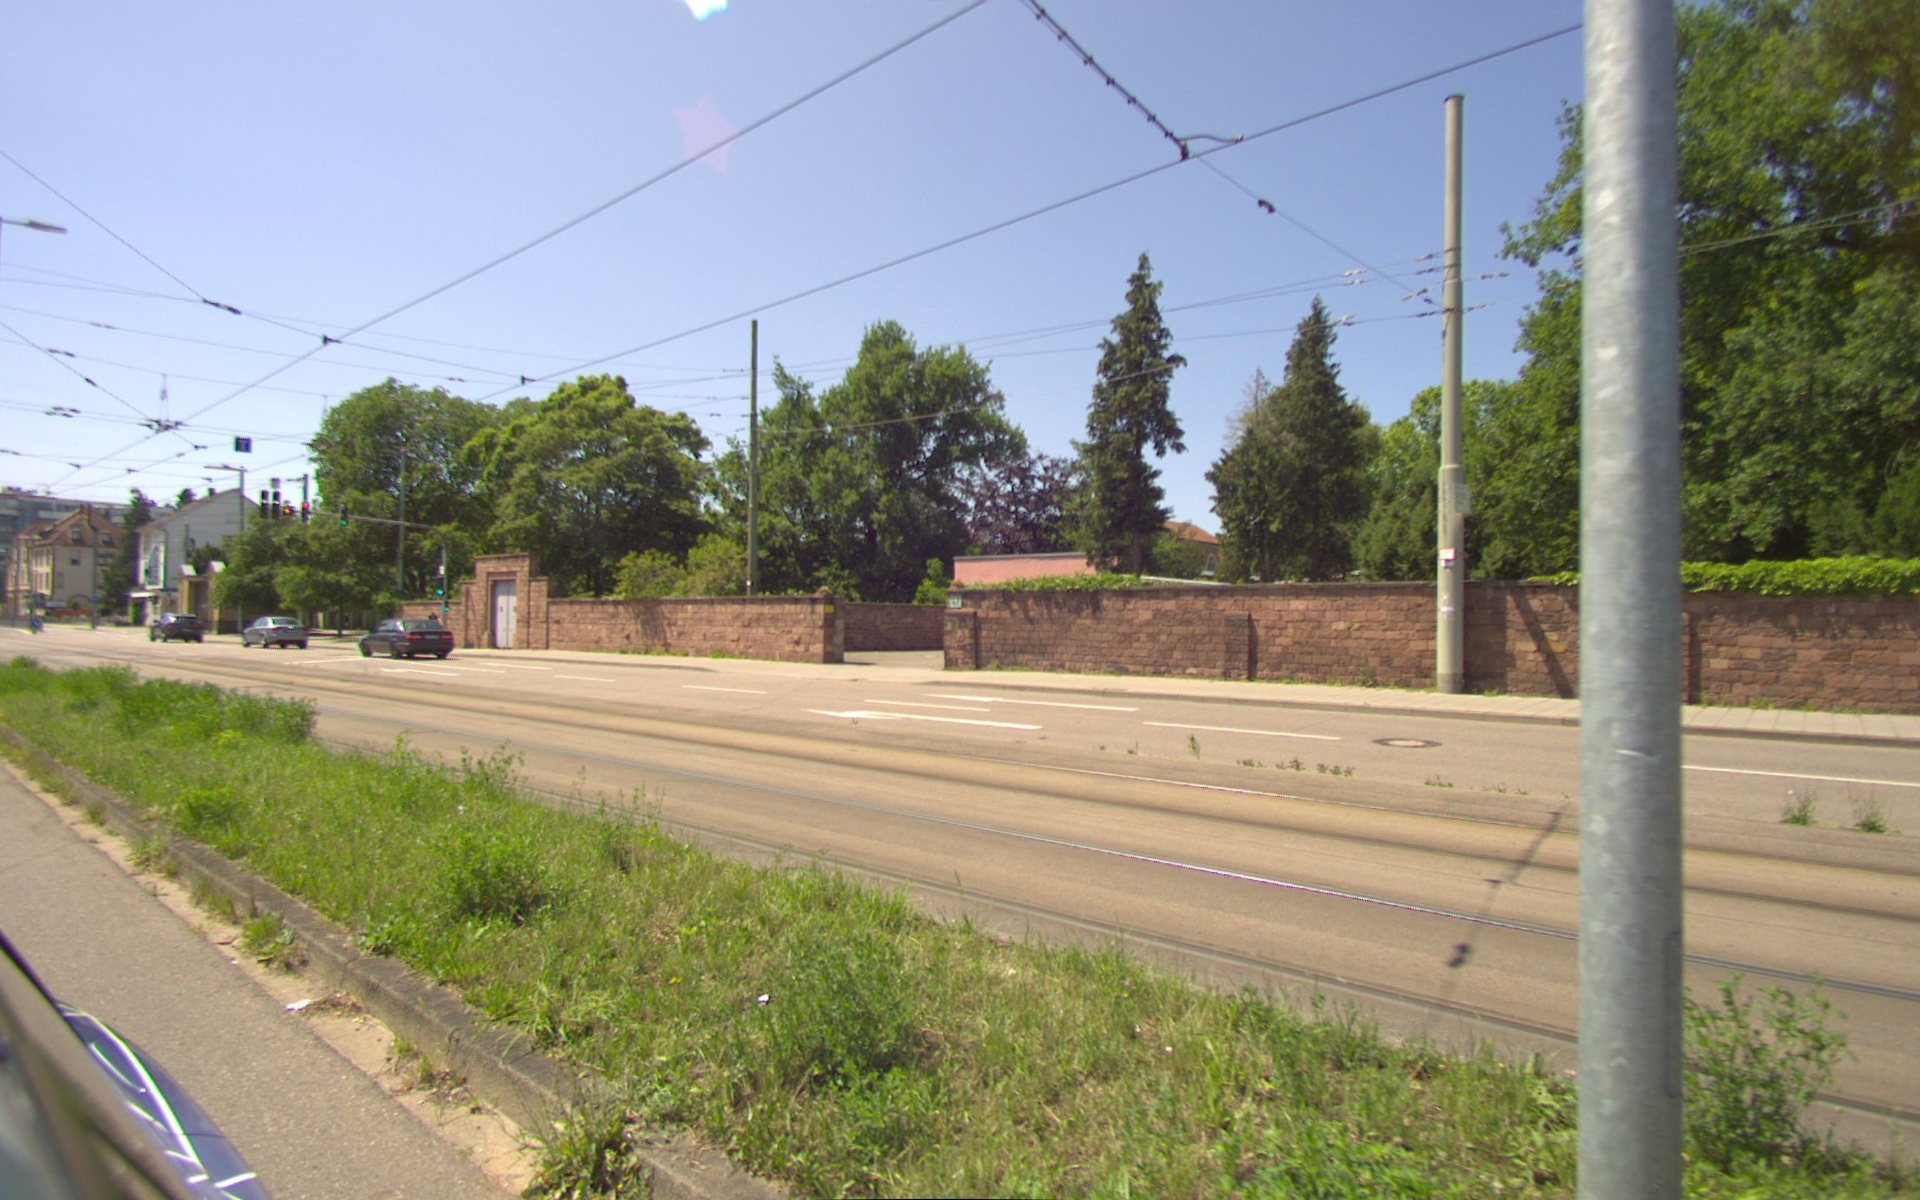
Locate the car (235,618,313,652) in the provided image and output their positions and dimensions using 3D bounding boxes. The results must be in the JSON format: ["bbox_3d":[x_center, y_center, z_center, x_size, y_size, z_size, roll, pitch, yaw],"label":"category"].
[{"bbox_3d":[-31.735,1.585,46.765,4.708,1.427,1.822,-1,1,41],"label":"car"}]

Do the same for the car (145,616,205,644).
[{"bbox_3d":[-45.263,1.699,58.333,4.462,1.567,1.822,-1,-2,40],"label":"car"}]

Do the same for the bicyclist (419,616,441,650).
[{"bbox_3d":[-23.664,1.462,45.170,0.662,1.508,0.646,-1,-1,39],"label":"bicyclist"}]

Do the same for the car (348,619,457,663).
[{"bbox_3d":[-20.162,1.420,36.521,5.031,1.427,1.822,-1,1,41],"label":"car"}]
